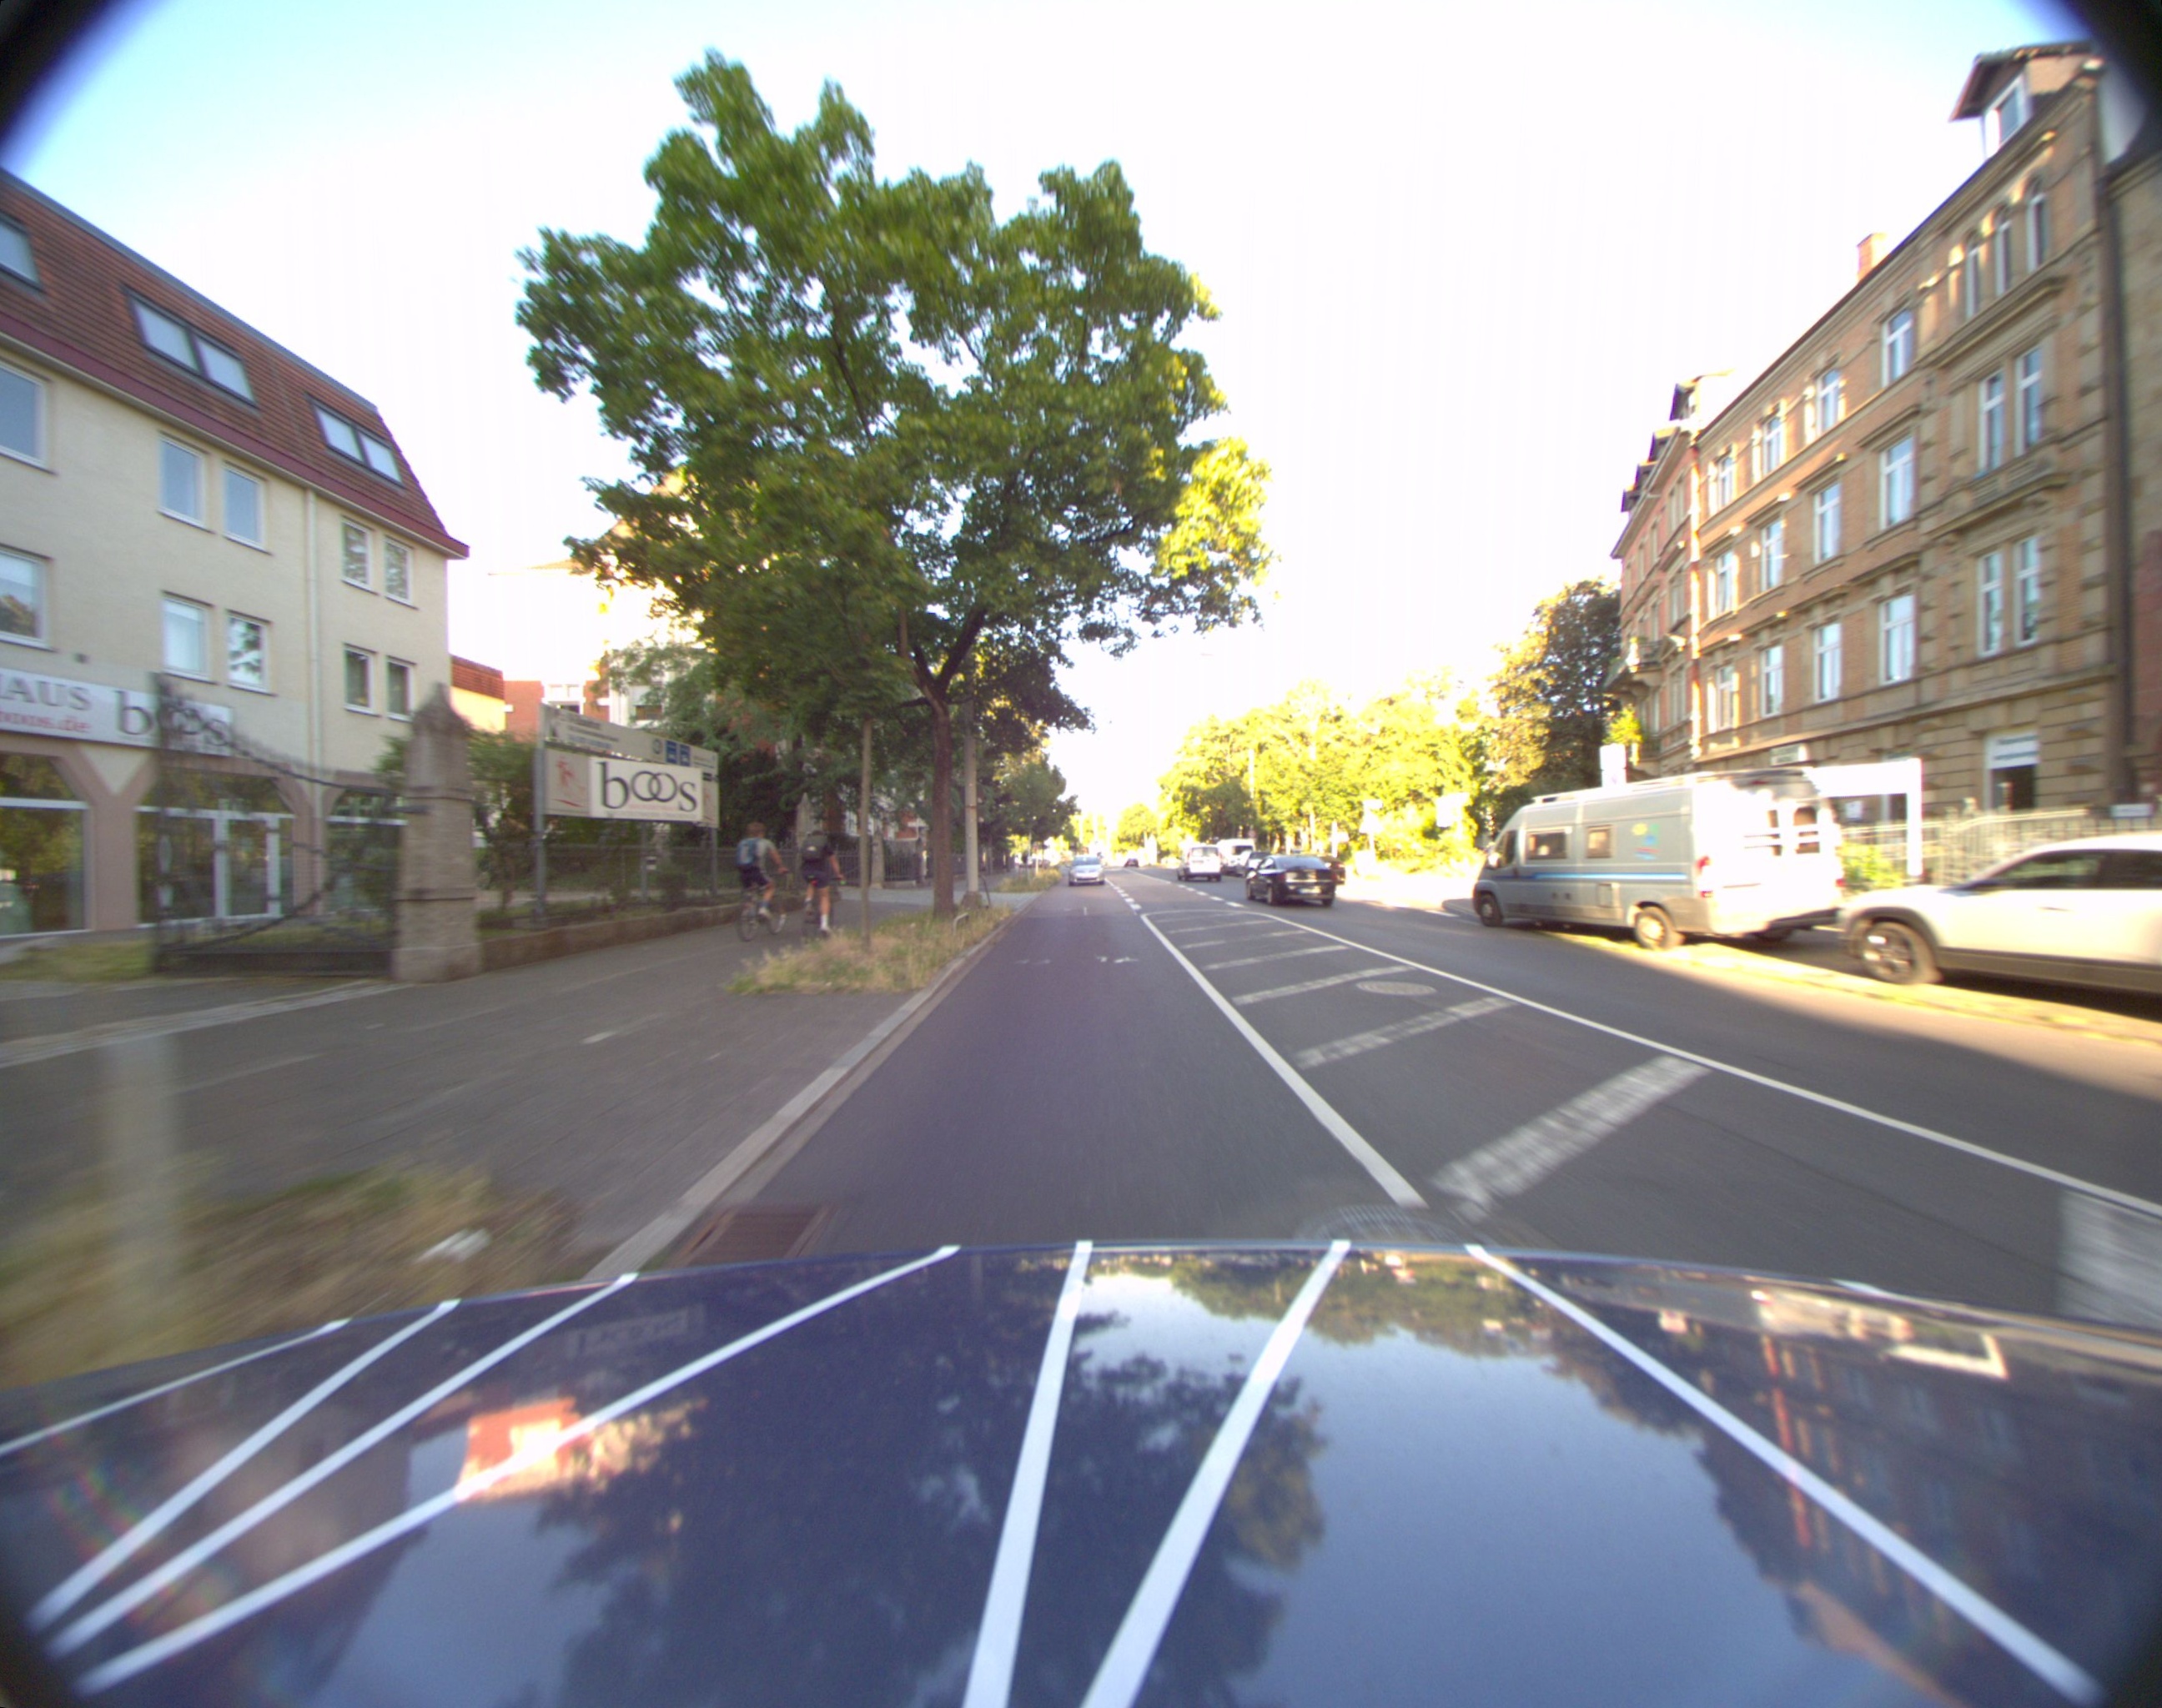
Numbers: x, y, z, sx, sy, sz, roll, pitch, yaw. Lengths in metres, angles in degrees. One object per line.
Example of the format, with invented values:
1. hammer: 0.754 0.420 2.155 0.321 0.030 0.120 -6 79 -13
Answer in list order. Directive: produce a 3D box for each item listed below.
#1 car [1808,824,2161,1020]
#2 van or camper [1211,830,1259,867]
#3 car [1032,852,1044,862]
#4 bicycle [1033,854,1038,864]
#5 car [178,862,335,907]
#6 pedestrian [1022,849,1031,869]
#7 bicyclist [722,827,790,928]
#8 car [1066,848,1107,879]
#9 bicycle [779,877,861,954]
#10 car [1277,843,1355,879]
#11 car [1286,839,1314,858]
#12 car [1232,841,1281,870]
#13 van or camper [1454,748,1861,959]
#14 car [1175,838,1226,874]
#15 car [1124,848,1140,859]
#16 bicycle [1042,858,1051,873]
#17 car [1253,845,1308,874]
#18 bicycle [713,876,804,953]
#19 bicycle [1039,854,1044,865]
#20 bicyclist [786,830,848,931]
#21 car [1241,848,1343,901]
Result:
1. car: 9.466 0.516 6.799 1.750 1.526 4.302 -3 0 -1
2. van or camper: 10.781 -0.365 53.708 2.096 2.454 6.305 0 0 -1
3. car: -6.415 0.397 114.411 1.731 1.456 3.545 2 0 -3
4. bicycle: -6.263 0.715 104.362 0.567 1.268 2.263 3 1 -4
5. car: -32.878 1.178 30.378 4.449 1.477 1.822 3 1 3
6. pedestrian: -4.944 0.437 69.324 0.748 1.768 0.831 2 0 -6
7. bicyclist: -5.119 0.355 12.014 0.597 1.523 0.893 -3 1 0
8. car: 0.220 0.452 38.332 1.895 1.455 3.965 0 0 -2
9. bicycle: -4.122 0.934 12.172 0.545 1.034 2.088 -3 0 0
10. car: 10.414 0.269 34.030 1.998 1.475 4.828 -1 0 0
11. car: 27.421 -0.724 95.482 2.220 2.275 5.099 -2 0 3
12. car: 10.608 0.075 46.272 1.870 1.635 4.570 0 0 0
13. van or camper: 9.195 -0.016 13.148 1.999 2.653 6.036 -5 1 -4
14. car: 6.266 0.079 40.482 1.998 1.821 5.169 0 0 1
15. car: 6.497 -0.066 97.461 1.770 1.394 4.544 -1 0 1
16. bicycle: -2.797 0.903 62.219 0.648 1.160 1.930 -3 0 -4
17. car: 10.653 0.260 40.877 1.740 1.437 4.624 -1 0 0
18. bicycle: -5.115 0.923 12.211 0.518 1.034 2.088 -3 0 0
19. bicycle: -5.478 0.747 104.430 0.567 1.292 2.263 3 1 -4
20. bicyclist: -4.170 0.401 12.053 0.597 1.523 0.893 -3 1 0
21. car: 5.982 0.527 22.045 1.764 1.378 4.304 0 0 0
